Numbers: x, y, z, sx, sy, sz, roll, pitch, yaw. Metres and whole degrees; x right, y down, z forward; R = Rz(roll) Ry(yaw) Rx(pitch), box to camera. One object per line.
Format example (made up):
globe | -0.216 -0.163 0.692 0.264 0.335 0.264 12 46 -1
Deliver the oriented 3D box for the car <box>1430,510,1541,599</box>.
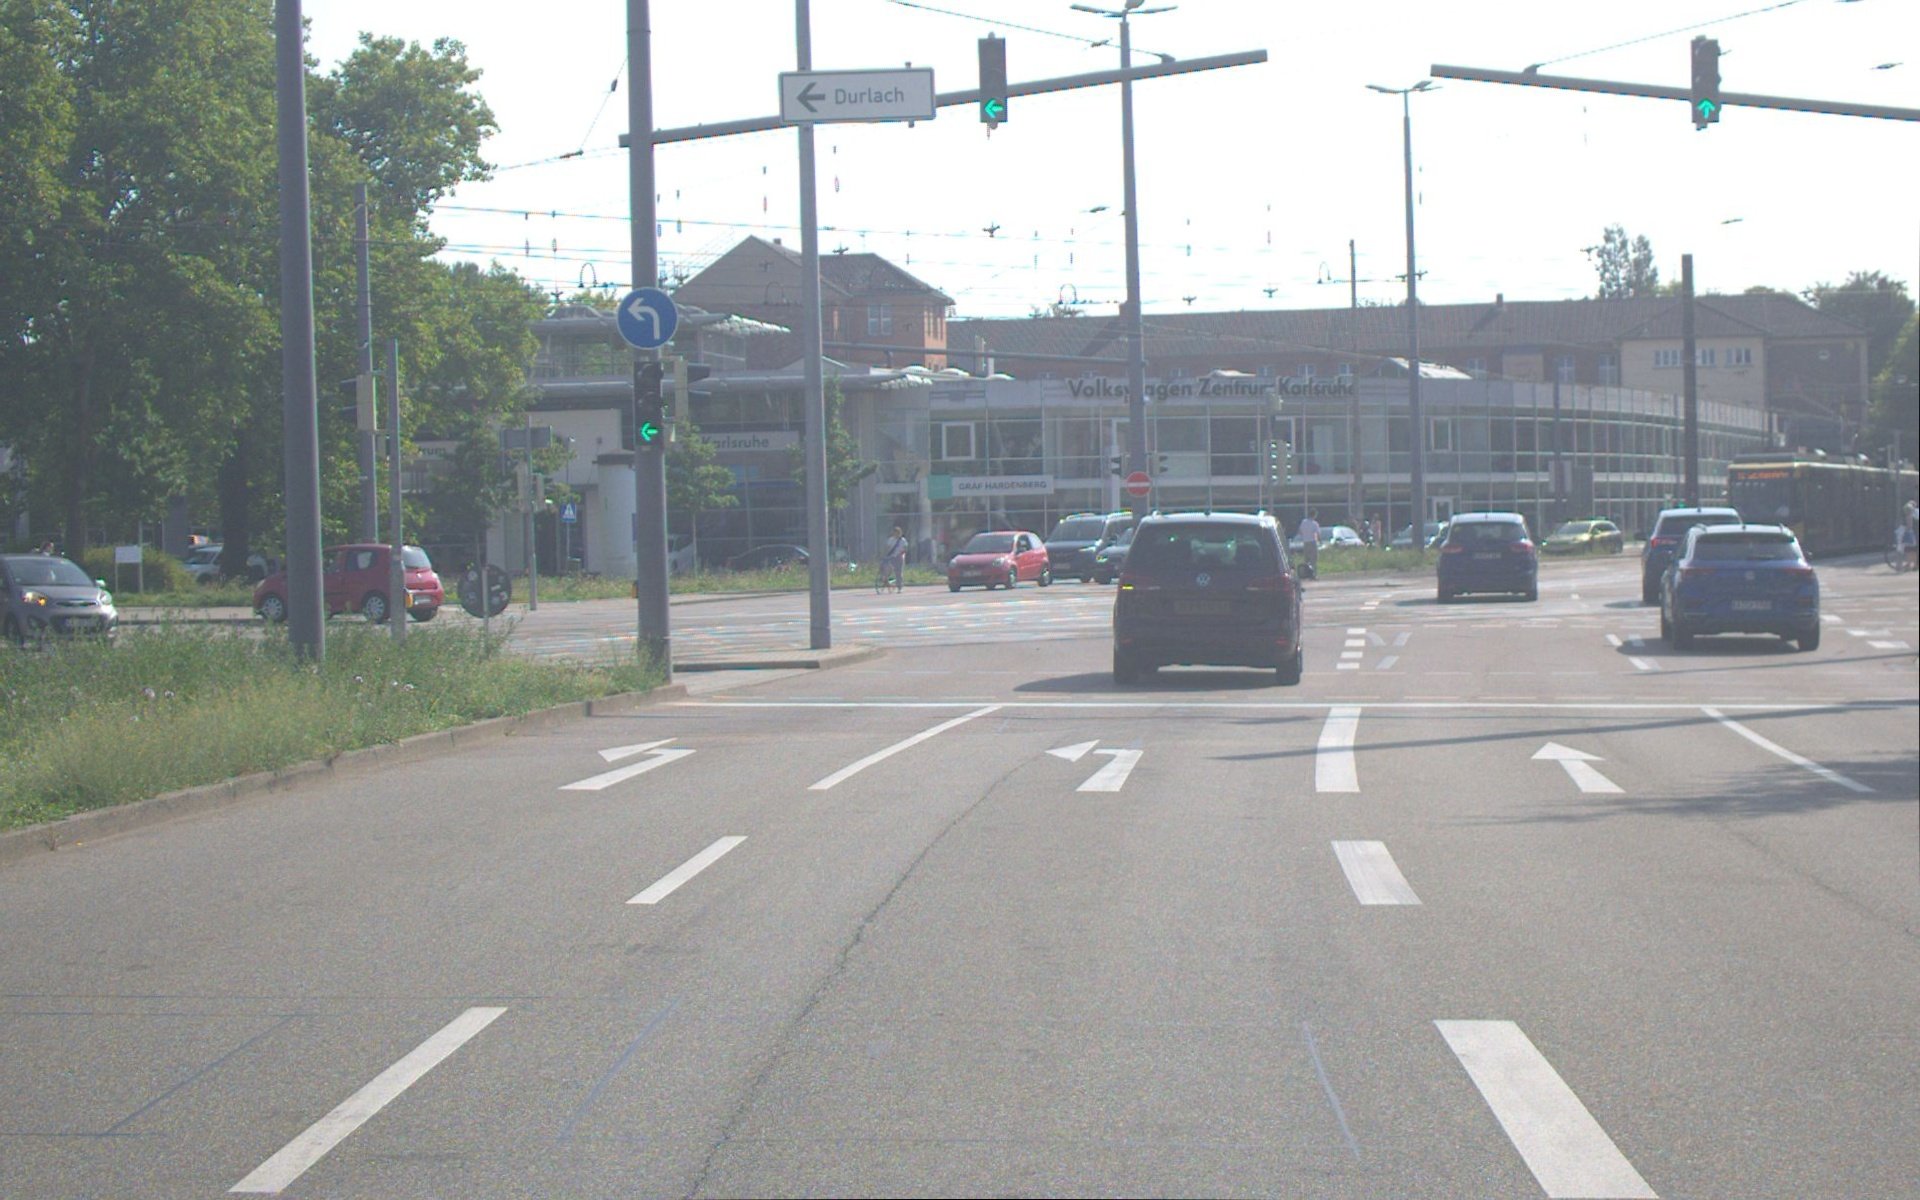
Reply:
car | 9.556 -0.855 62.768 1.826 1.530 4.411 -1 1 7

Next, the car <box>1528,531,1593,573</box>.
car | 22.983 -1.850 131.453 1.616 1.470 3.996 -3 0 22

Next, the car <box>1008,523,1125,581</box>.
car | 2.949 -1.322 94.572 1.962 1.470 3.996 -3 0 21

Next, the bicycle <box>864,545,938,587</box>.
bicycle | -1.510 -0.879 88.180 0.959 1.053 2.605 0 1 22

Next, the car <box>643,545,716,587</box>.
car | -10.401 -1.271 127.834 1.700 1.517 4.098 -1 1 10

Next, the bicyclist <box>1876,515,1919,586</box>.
bicyclist | 24.242 -1.273 88.262 0.933 1.793 1.093 -1 1 -18

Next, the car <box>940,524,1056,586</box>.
car | 0.989 -1.150 87.349 1.616 1.470 3.996 -3 0 21

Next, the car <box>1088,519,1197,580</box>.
car | 4.754 -1.326 89.082 1.616 1.470 3.996 -3 0 21

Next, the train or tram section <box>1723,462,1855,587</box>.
train or tram section | 26.170 -2.406 108.175 2.657 3.686 10.578 -1 1 21

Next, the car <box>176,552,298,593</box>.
car | -27.513 -1.054 130.955 1.703 1.517 4.505 0 1 37

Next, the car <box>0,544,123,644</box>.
car | -14.292 -0.109 52.681 1.888 1.447 3.675 -2 1 -29

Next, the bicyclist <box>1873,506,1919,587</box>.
bicyclist | 23.603 -1.342 86.026 0.934 2.017 1.093 -2 1 -31

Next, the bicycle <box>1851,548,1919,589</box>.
bicycle | 23.652 -0.801 86.055 2.618 0.961 1.093 -2 1 -31

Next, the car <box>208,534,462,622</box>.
car | -11.731 -0.414 64.481 4.403 1.530 1.829 -1 1 25

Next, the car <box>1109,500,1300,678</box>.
car | 2.491 -0.156 35.259 1.826 1.708 4.412 0 1 4

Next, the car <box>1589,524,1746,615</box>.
car | 11.845 -0.538 57.808 1.825 1.423 4.412 -1 1 2

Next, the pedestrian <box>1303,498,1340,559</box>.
pedestrian | 9.029 -1.792 85.835 0.778 1.498 0.710 -1 1 16

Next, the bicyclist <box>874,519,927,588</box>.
bicyclist | -1.522 -1.193 88.149 0.959 1.742 1.165 0 1 22

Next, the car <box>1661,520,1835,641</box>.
car | 10.058 -0.287 44.147 1.826 1.423 4.411 -1 1 9

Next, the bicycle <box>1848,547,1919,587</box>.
bicycle | 24.263 -0.854 88.278 2.617 0.961 1.093 -1 1 -18

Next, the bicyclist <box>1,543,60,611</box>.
bicyclist | -21.071 -0.530 77.922 1.162 1.522 0.961 -1 1 -9

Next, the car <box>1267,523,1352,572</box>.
car | 11.329 -1.710 111.247 1.616 1.470 3.996 -3 0 22
